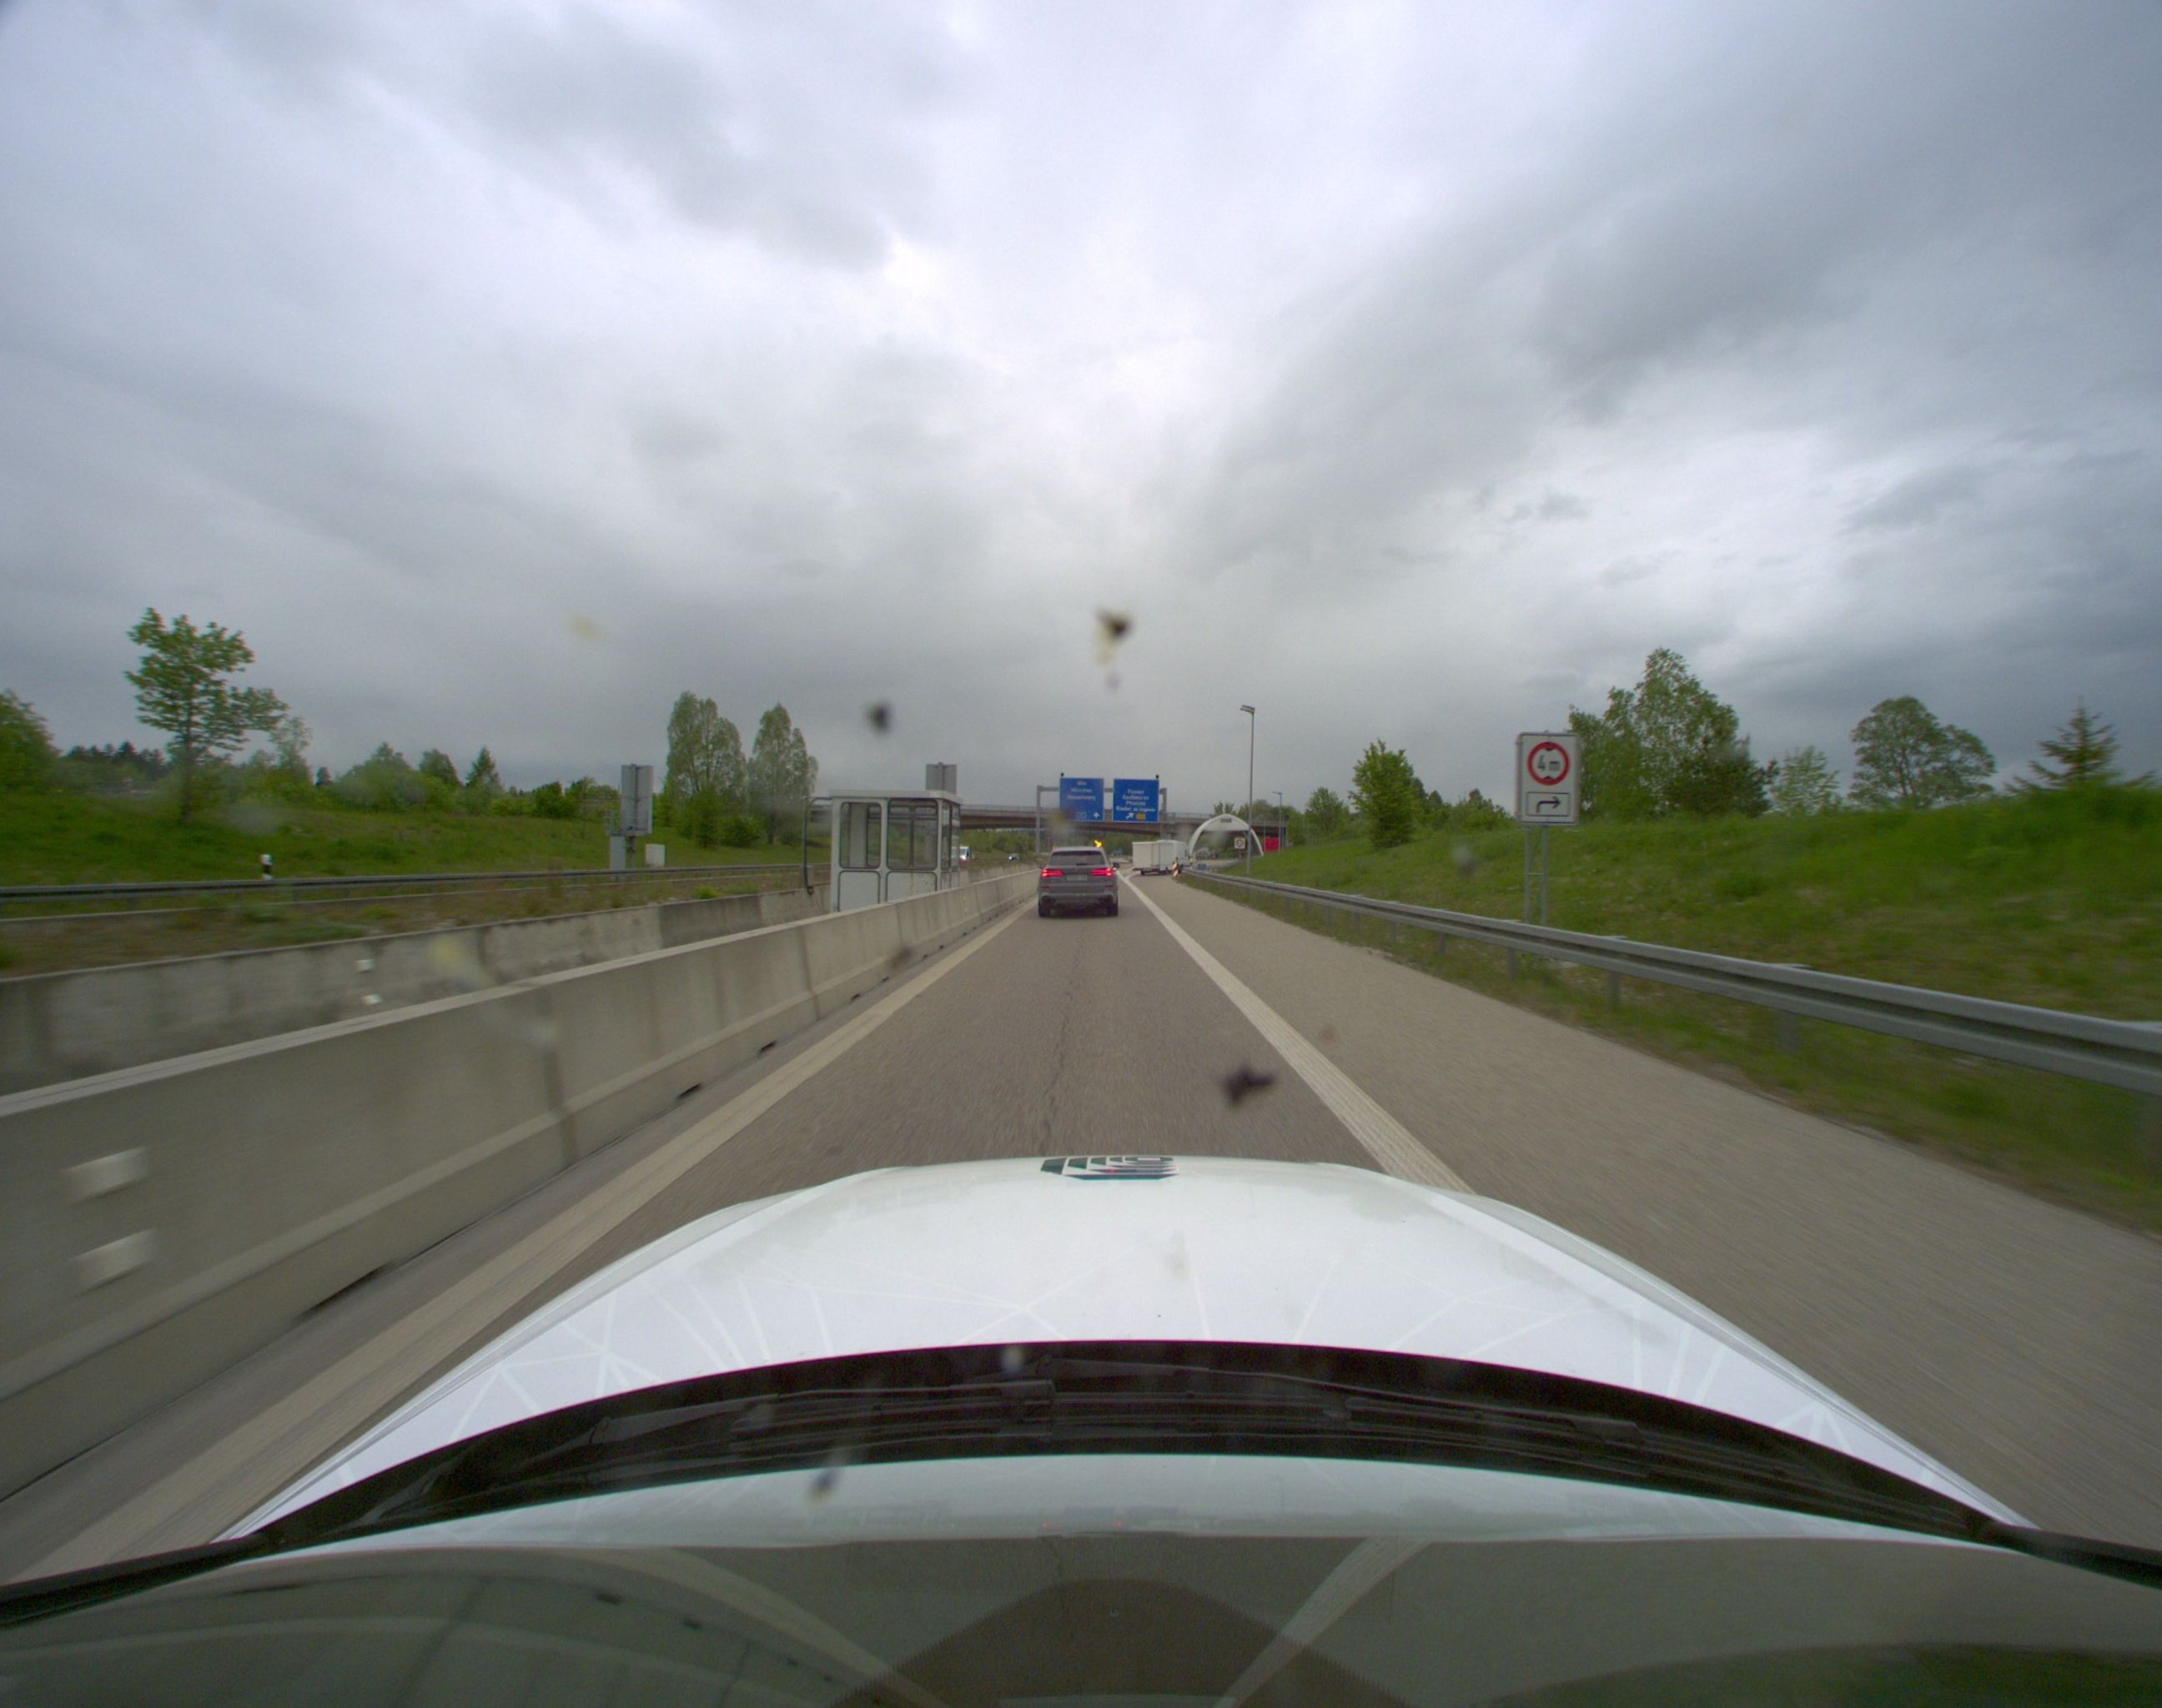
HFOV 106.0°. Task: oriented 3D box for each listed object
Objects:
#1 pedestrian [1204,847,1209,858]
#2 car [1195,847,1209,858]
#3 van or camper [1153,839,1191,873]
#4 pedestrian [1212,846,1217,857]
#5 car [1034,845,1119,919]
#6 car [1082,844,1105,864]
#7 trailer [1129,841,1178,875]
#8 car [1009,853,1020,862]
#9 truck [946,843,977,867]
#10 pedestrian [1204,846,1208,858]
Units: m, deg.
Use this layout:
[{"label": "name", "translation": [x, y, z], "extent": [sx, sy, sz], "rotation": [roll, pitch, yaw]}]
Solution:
[{"label": "pedestrian", "translation": [20.461, -0.266, 132.421], "extent": [0.716, 1.775, 0.691], "rotation": [-1, 0, 6]}, {"label": "car", "translation": [19.296, -0.250, 129.954], "extent": [1.984, 1.772, 3.771], "rotation": [-1, 0, 5]}, {"label": "van or camper", "translation": [7.712, 0.173, 68.422], "extent": [2.140, 2.763, 5.897], "rotation": [-1, -1, 17]}, {"label": "pedestrian", "translation": [21.879, -0.339, 133.246], "extent": [0.645, 1.775, 0.606], "rotation": [-1, 0, 4]}, {"label": "car", "translation": [-0.045, 0.663, 21.276], "extent": [1.986, 1.719, 4.001], "rotation": [-1, 0, 2]}, {"label": "car", "translation": [1.266, -0.062, 84.658], "extent": [2.278, 2.013, 5.050], "rotation": [-1, 1, 0]}, {"label": "trailer", "translation": [5.623, 0.280, 62.431], "extent": [2.261, 2.430, 6.848], "rotation": [-1, -1, 17]}, {"label": "car", "translation": [-11.251, 0.597, 137.870], "extent": [1.602, 1.500, 3.839], "rotation": [0, 0, 1]}, {"label": "truck", "translation": [-12.753, 0.109, 87.166], "extent": [2.348, 2.479, 5.989], "rotation": [0, 0, 1]}, {"label": "pedestrian", "translation": [20.458, -0.380, 133.256], "extent": [0.716, 1.945, 0.691], "rotation": [-1, 0, 6]}]
